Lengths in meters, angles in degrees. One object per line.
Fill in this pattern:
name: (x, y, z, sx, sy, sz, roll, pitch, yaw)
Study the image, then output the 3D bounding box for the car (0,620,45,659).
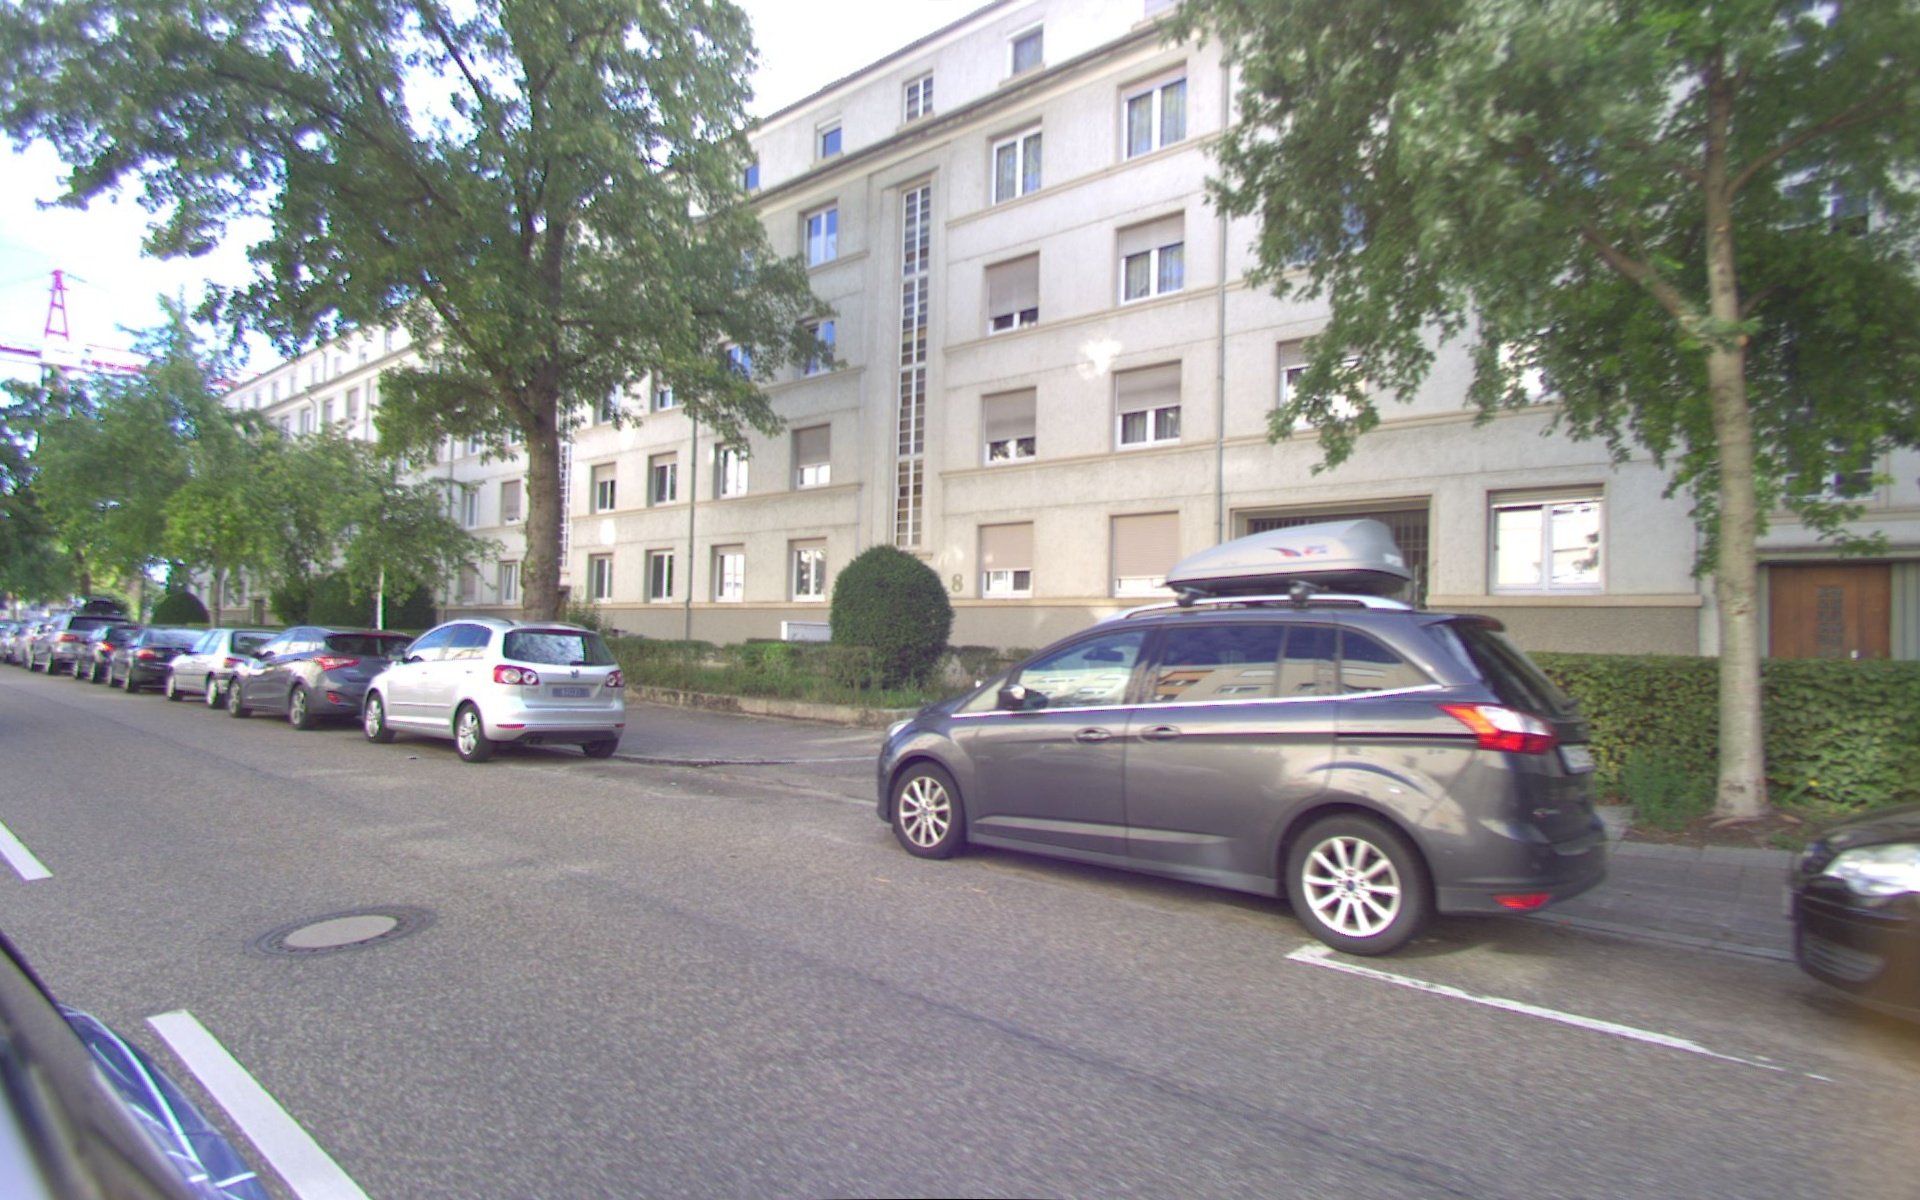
car: (-37.754, 1.520, 39.928, 4.662, 1.404, 1.720, -1, -6, 40)

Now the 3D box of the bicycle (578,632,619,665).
bicycle: (-11.873, 1.586, 33.228, 1.540, 1.064, 0.536, -1, -3, 40)

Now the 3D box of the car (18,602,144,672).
car: (-25.350, 1.057, 29.132, 4.966, 1.806, 1.858, -1, -5, 40)

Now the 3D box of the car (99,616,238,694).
car: (-17.417, 1.171, 22.192, 4.452, 1.492, 1.666, -1, -7, 44)

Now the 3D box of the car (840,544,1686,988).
car: (1.476, 0.730, 6.032, 4.481, 1.681, 1.780, -1, -6, 42)

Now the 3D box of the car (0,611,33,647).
car: (-42.656, 1.268, 44.693, 4.679, 1.497, 1.837, -1, -4, 40)

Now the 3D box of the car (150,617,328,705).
car: (-13.350, 1.097, 18.667, 3.960, 1.429, 1.584, -1, -6, 39)

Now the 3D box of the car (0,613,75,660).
car: (-33.540, 1.290, 36.362, 4.941, 1.497, 1.836, -1, -6, 41)

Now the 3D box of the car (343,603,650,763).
car: (-5.700, 0.936, 12.265, 3.990, 1.632, 1.721, -1, -5, 39)

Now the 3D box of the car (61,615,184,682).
car: (-21.284, 1.211, 25.670, 4.118, 1.492, 1.667, -1, -6, 42)

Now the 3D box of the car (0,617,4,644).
car: (-48.189, 1.514, 49.221, 4.795, 1.497, 1.836, -1, -7, 41)

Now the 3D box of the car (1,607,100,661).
car: (-29.714, 1.105, 33.034, 4.458, 1.585, 1.835, -1, -5, 42)

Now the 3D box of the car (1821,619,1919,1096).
car: (4.942, 0.864, 2.774, 3.843, 1.498, 1.683, -1, -5, 39)

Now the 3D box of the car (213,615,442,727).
car: (-9.602, 1.033, 15.255, 4.009, 1.479, 1.598, -1, -6, 39)
